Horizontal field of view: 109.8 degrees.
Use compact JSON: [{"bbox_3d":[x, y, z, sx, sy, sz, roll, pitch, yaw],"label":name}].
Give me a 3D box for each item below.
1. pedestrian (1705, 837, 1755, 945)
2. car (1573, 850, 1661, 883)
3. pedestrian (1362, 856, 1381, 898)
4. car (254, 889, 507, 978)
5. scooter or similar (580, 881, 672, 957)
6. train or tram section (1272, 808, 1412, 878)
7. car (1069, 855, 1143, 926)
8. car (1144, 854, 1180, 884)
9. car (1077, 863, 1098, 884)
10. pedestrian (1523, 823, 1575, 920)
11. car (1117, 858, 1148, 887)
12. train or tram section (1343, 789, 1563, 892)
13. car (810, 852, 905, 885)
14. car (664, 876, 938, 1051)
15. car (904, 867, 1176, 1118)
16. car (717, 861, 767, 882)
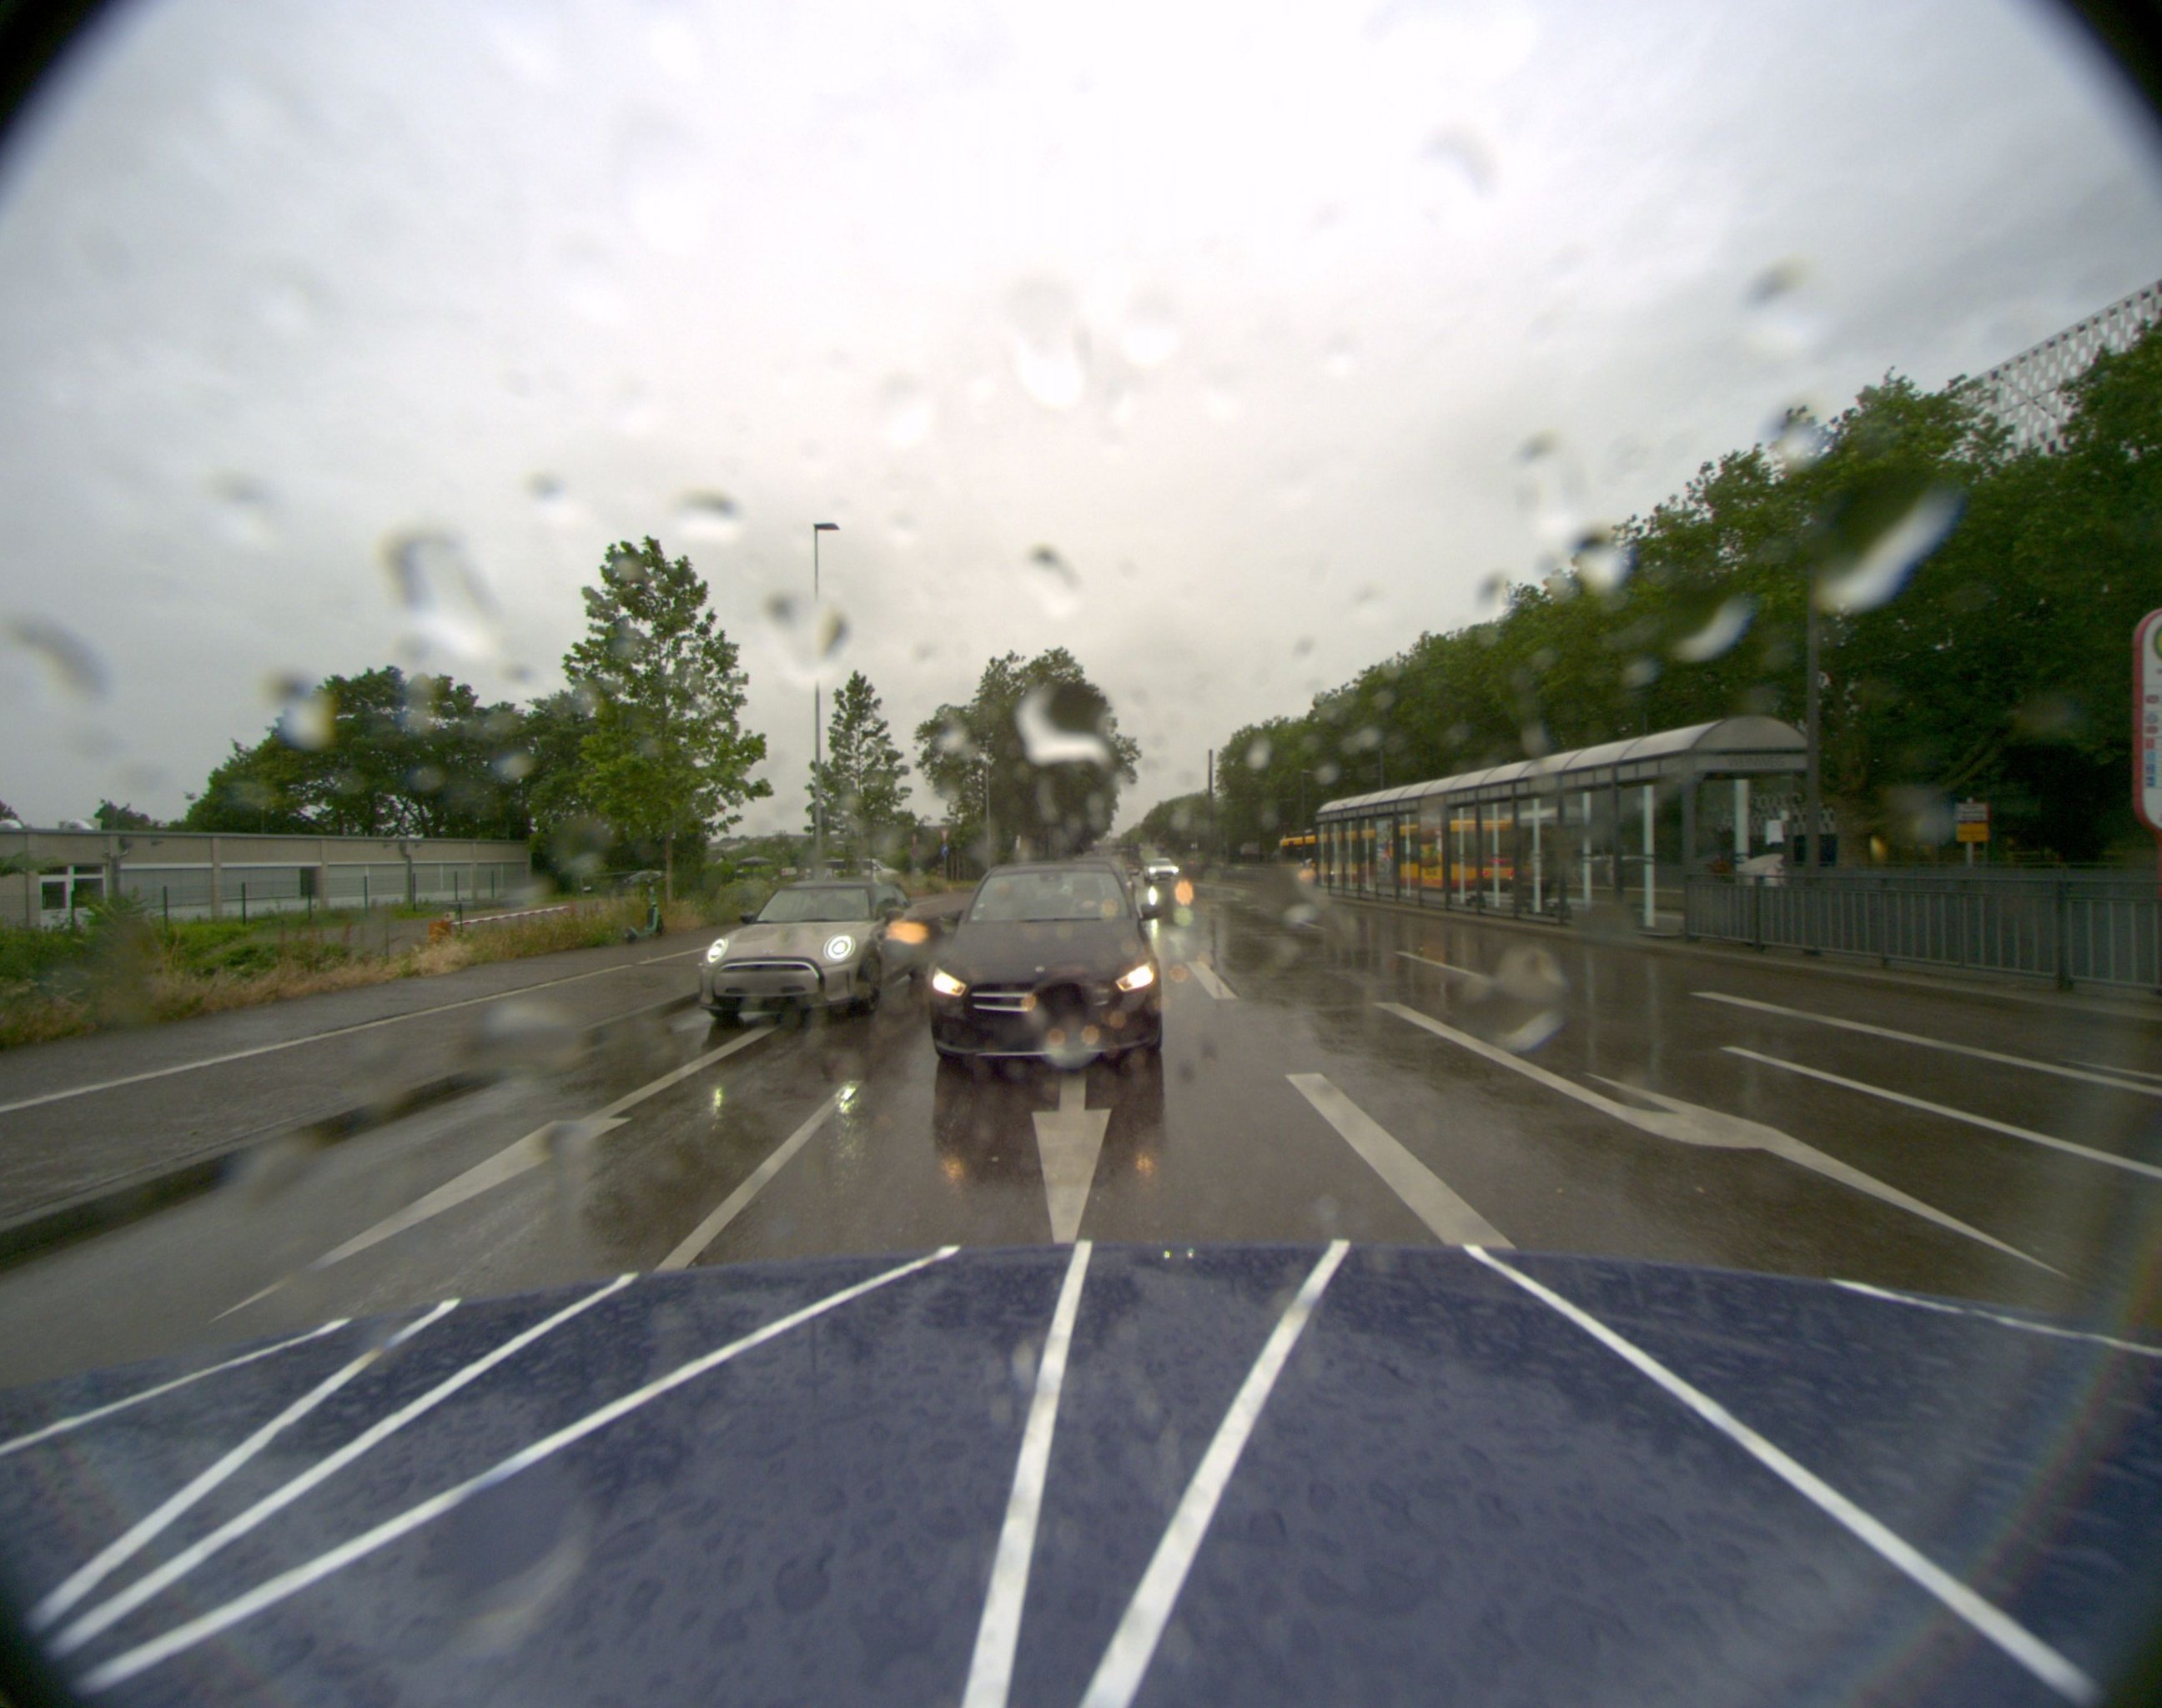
[{"bbox_3d":[9.184,0.512,10.756,0.321,1.485,0.415,-3,2,6],"label":"pedestrian"},{"bbox_3d":[25.957,0.583,36.916,1.585,1.455,3.427,-3,1,-6],"label":"car"},{"bbox_3d":[8.701,0.695,22.765,0.458,1.229,0.467,-2,2,15],"label":"pedestrian"},{"bbox_3d":[-12.054,1.355,13.163,3.243,1.281,1.345,-3,1,6],"label":"car"},{"bbox_3d":[-8.216,1.134,13.823,0.367,1.192,1.913,-2,1,4],"label":"scooter or similar"},{"bbox_3d":[16.569,-0.683,50.260,3.751,3.777,15.569,-3,0,0],"label":"train or tram section"},{"bbox_3d":[0.633,0.853,19.612,1.689,1.611,4.000,-1,0,2],"label":"car"},{"bbox_3d":[5.366,0.965,51.035,1.935,1.765,4.663,-3,1,1],"label":"car"},{"bbox_3d":[0.535,1.552,61.541,1.557,1.500,3.618,-2,0,2],"label":"car"},{"bbox_3d":[9.241,0.340,15.034,0.655,1.860,0.773,-2,1,17],"label":"pedestrian"},{"bbox_3d":[3.068,1.085,45.894,1.557,1.541,3.717,-3,0,0],"label":"car"},{"bbox_3d":[16.593,-0.571,35.833,3.751,3.817,13.253,-3,1,0],"label":"train or tram section"},{"bbox_3d":[-13.563,0.856,46.350,5.174,1.715,2.006,-3,1,-1],"label":"car"},{"bbox_3d":[-2.985,1.076,9.041,1.707,1.499,3.880,-3,-1,1],"label":"car"},{"bbox_3d":[-0.369,0.952,7.154,1.759,1.572,4.168,-2,0,-3],"label":"car"},{"bbox_3d":[-28.263,1.437,63.357,3.552,1.575,1.345,-3,1,6],"label":"car"}]
